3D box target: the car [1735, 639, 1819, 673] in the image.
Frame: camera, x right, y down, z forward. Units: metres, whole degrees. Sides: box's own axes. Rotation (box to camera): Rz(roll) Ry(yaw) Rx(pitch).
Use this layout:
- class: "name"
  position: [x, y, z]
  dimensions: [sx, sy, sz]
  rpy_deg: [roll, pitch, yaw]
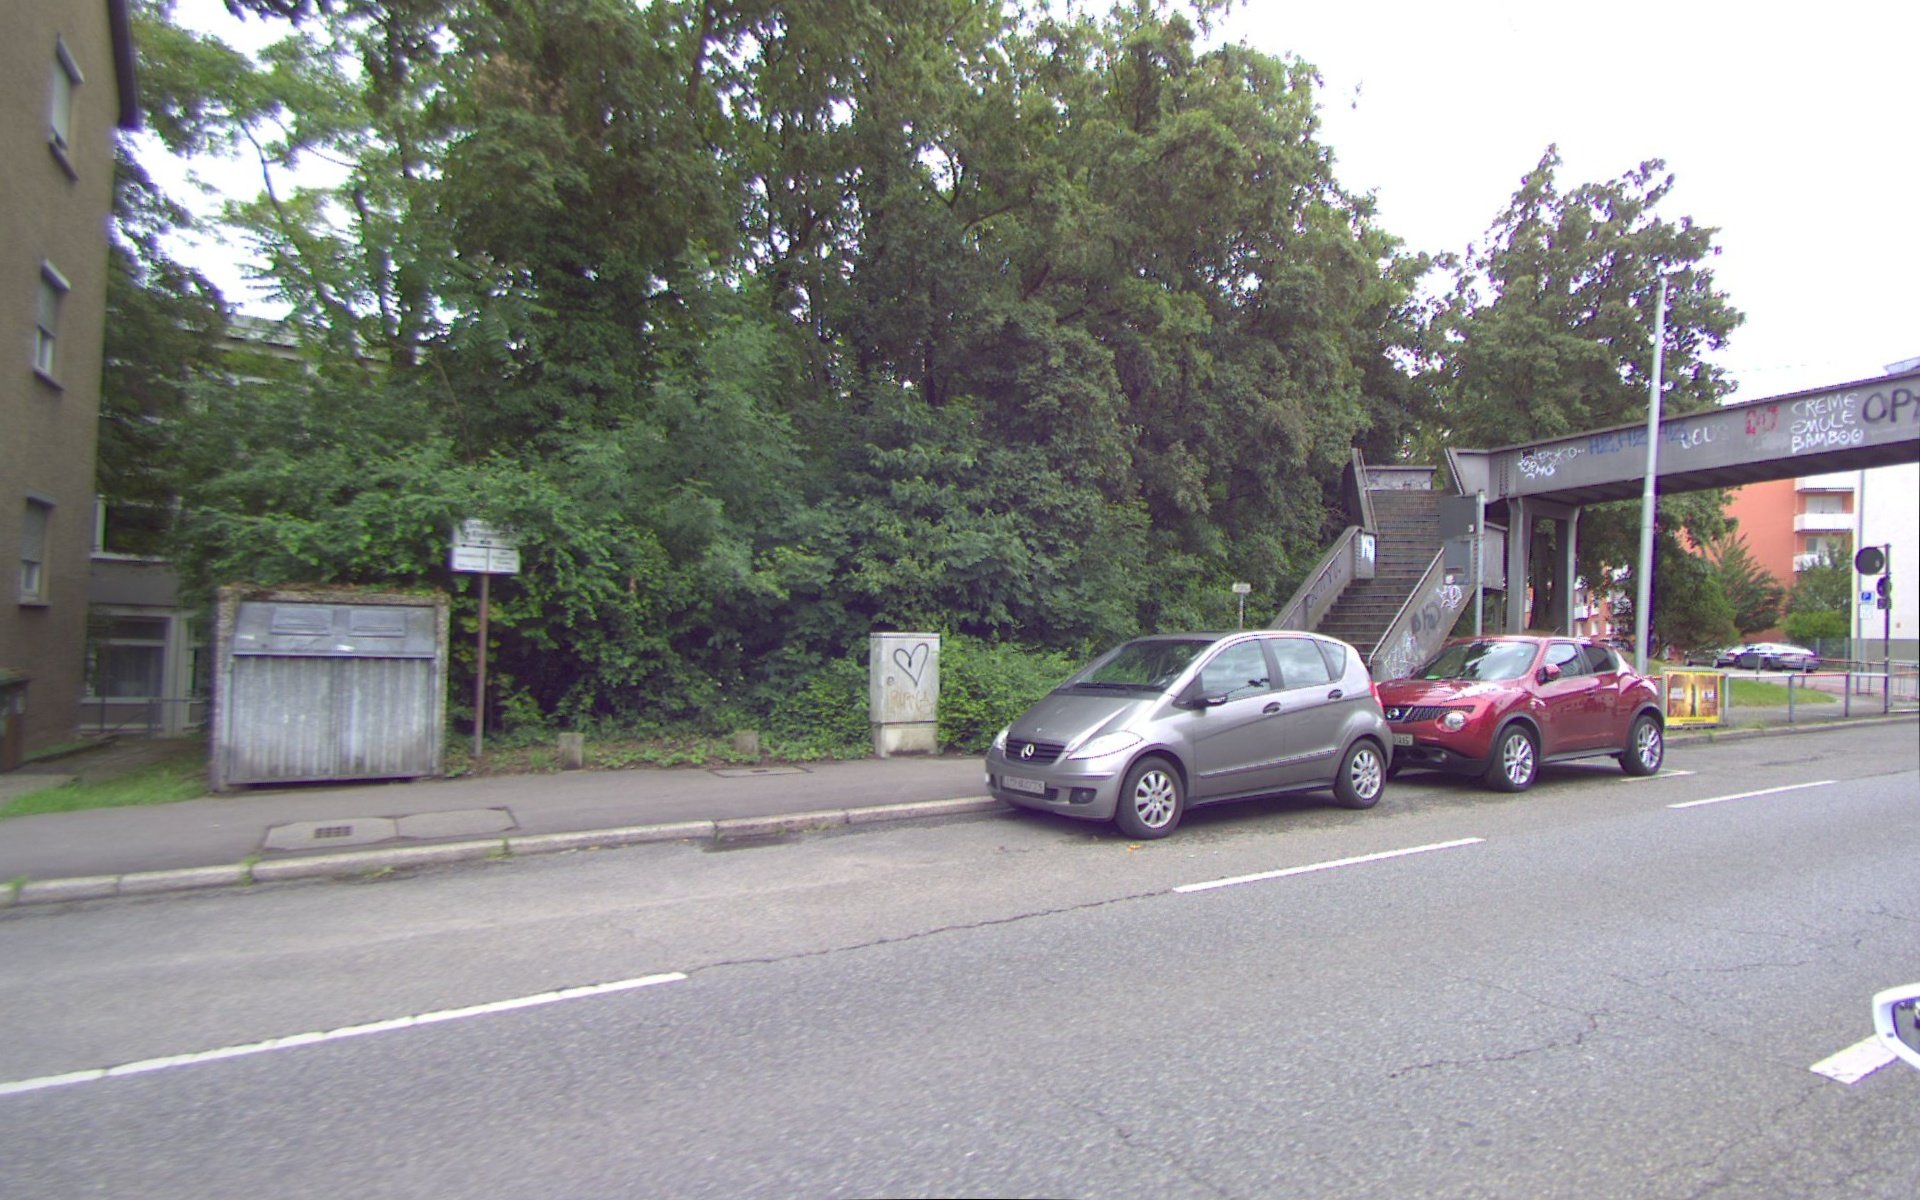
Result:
- class: "car"
  position: [39.673, 2.694, 48.874]
  dimensions: [1.771, 1.530, 4.002]
  rpy_deg: [0, -1, 17]

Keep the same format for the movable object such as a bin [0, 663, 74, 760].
- class: "movable object such as a bin"
  position: [-9.992, 1.182, 10.799]
  dimensions: [0.572, 0.987, 0.605]
  rpy_deg: [1, -2, -30]

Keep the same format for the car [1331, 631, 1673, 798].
- class: "car"
  position: [6.049, 1.149, 11.099]
  dimensions: [3.936, 1.560, 1.526]
  rpy_deg: [1, -3, -31]

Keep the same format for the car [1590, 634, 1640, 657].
- class: "car"
  position: [44.956, 3.099, 69.011]
  dimensions: [1.771, 1.530, 4.002]
  rpy_deg: [0, -1, 17]

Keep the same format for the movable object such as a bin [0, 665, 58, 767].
- class: "movable object such as a bin"
  position: [-9.697, 1.174, 10.265]
  dimensions: [0.572, 0.987, 0.605]
  rpy_deg: [1, -2, -30]

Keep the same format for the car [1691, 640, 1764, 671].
- class: "car"
  position: [40.946, 2.923, 53.699]
  dimensions: [1.771, 1.530, 4.002]
  rpy_deg: [0, -1, 17]

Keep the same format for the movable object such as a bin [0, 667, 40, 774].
- class: "movable object such as a bin"
  position: [-9.399, 1.159, 9.731]
  dimensions: [0.572, 0.987, 0.605]
  rpy_deg: [1, -2, -30]

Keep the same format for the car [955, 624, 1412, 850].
- class: "car"
  position: [2.038, 1.044, 8.878]
  dimensions: [3.866, 1.589, 1.736]
  rpy_deg: [2, -3, -33]
